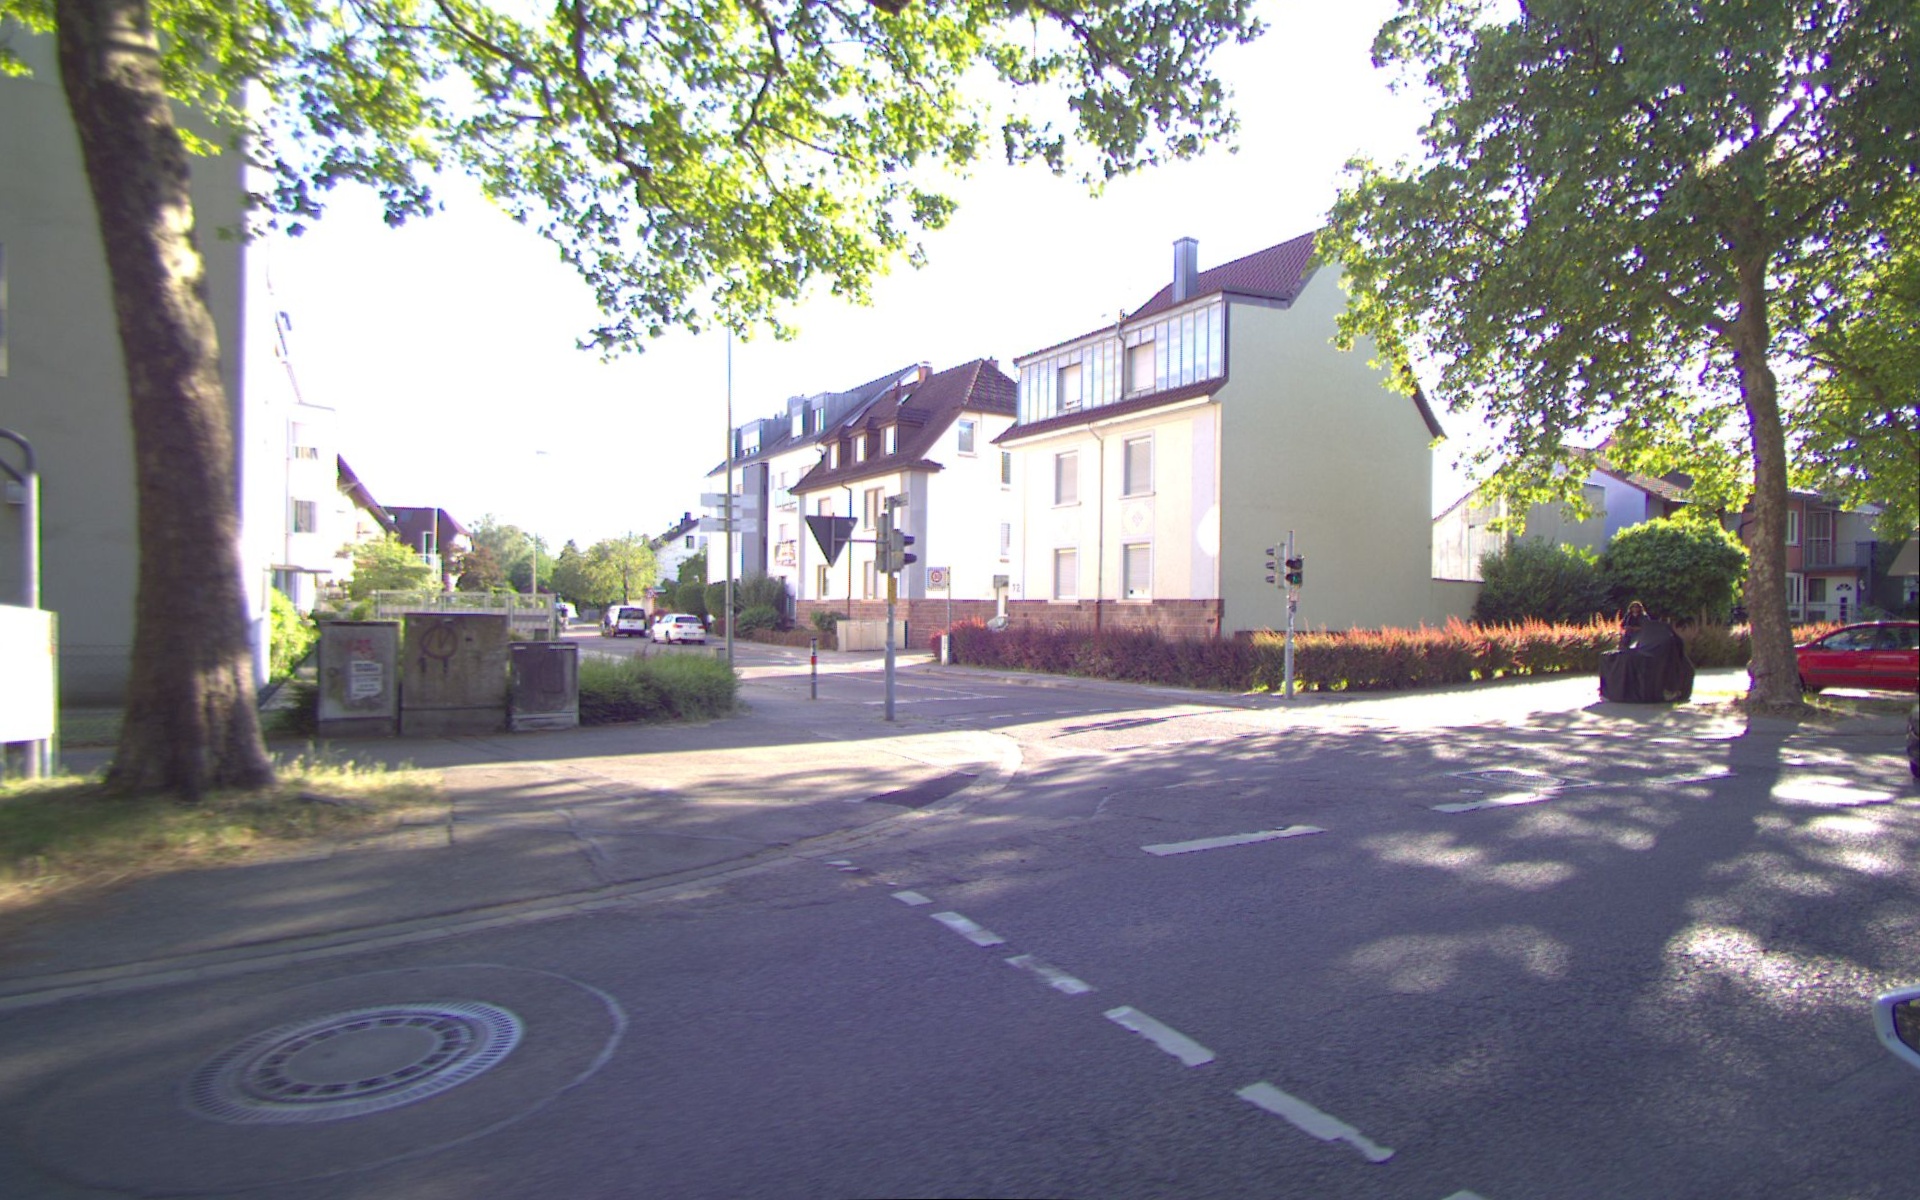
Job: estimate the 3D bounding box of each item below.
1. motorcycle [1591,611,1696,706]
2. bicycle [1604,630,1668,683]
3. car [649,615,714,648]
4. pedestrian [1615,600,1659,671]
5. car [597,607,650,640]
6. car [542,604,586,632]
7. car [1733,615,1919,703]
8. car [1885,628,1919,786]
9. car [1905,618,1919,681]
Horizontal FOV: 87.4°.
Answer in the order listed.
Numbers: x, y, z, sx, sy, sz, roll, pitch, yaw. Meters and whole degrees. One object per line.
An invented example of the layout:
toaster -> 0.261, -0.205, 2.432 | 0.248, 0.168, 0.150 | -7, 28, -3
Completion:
motorcycle -> 13.123, 1.062, 19.259 | 2.367, 1.660, 0.972 | -1, 1, -37
bicycle -> 15.377, 1.272, 22.820 | 2.132, 1.056, 0.505 | -2, 1, -36
car -> -13.511, 1.492, 48.577 | 1.978, 1.507, 3.965 | 1, -1, -32
pedestrian -> 15.390, 0.784, 22.823 | 1.024, 1.552, 0.505 | -2, 1, -36
car -> -19.453, 1.325, 57.982 | 1.978, 1.792, 3.965 | 1, -1, -32
car -> -26.032, 1.162, 65.971 | 1.978, 1.792, 3.965 | 1, -1, -32
car -> 18.065, 1.144, 20.061 | 1.811, 1.555, 3.745 | 1, 0, -31
car -> 11.058, 1.050, 10.059 | 4.025, 1.483, 1.716 | 2, -1, -33
car -> 24.705, 1.252, 23.585 | 1.676, 1.499, 3.323 | 1, 1, -30
